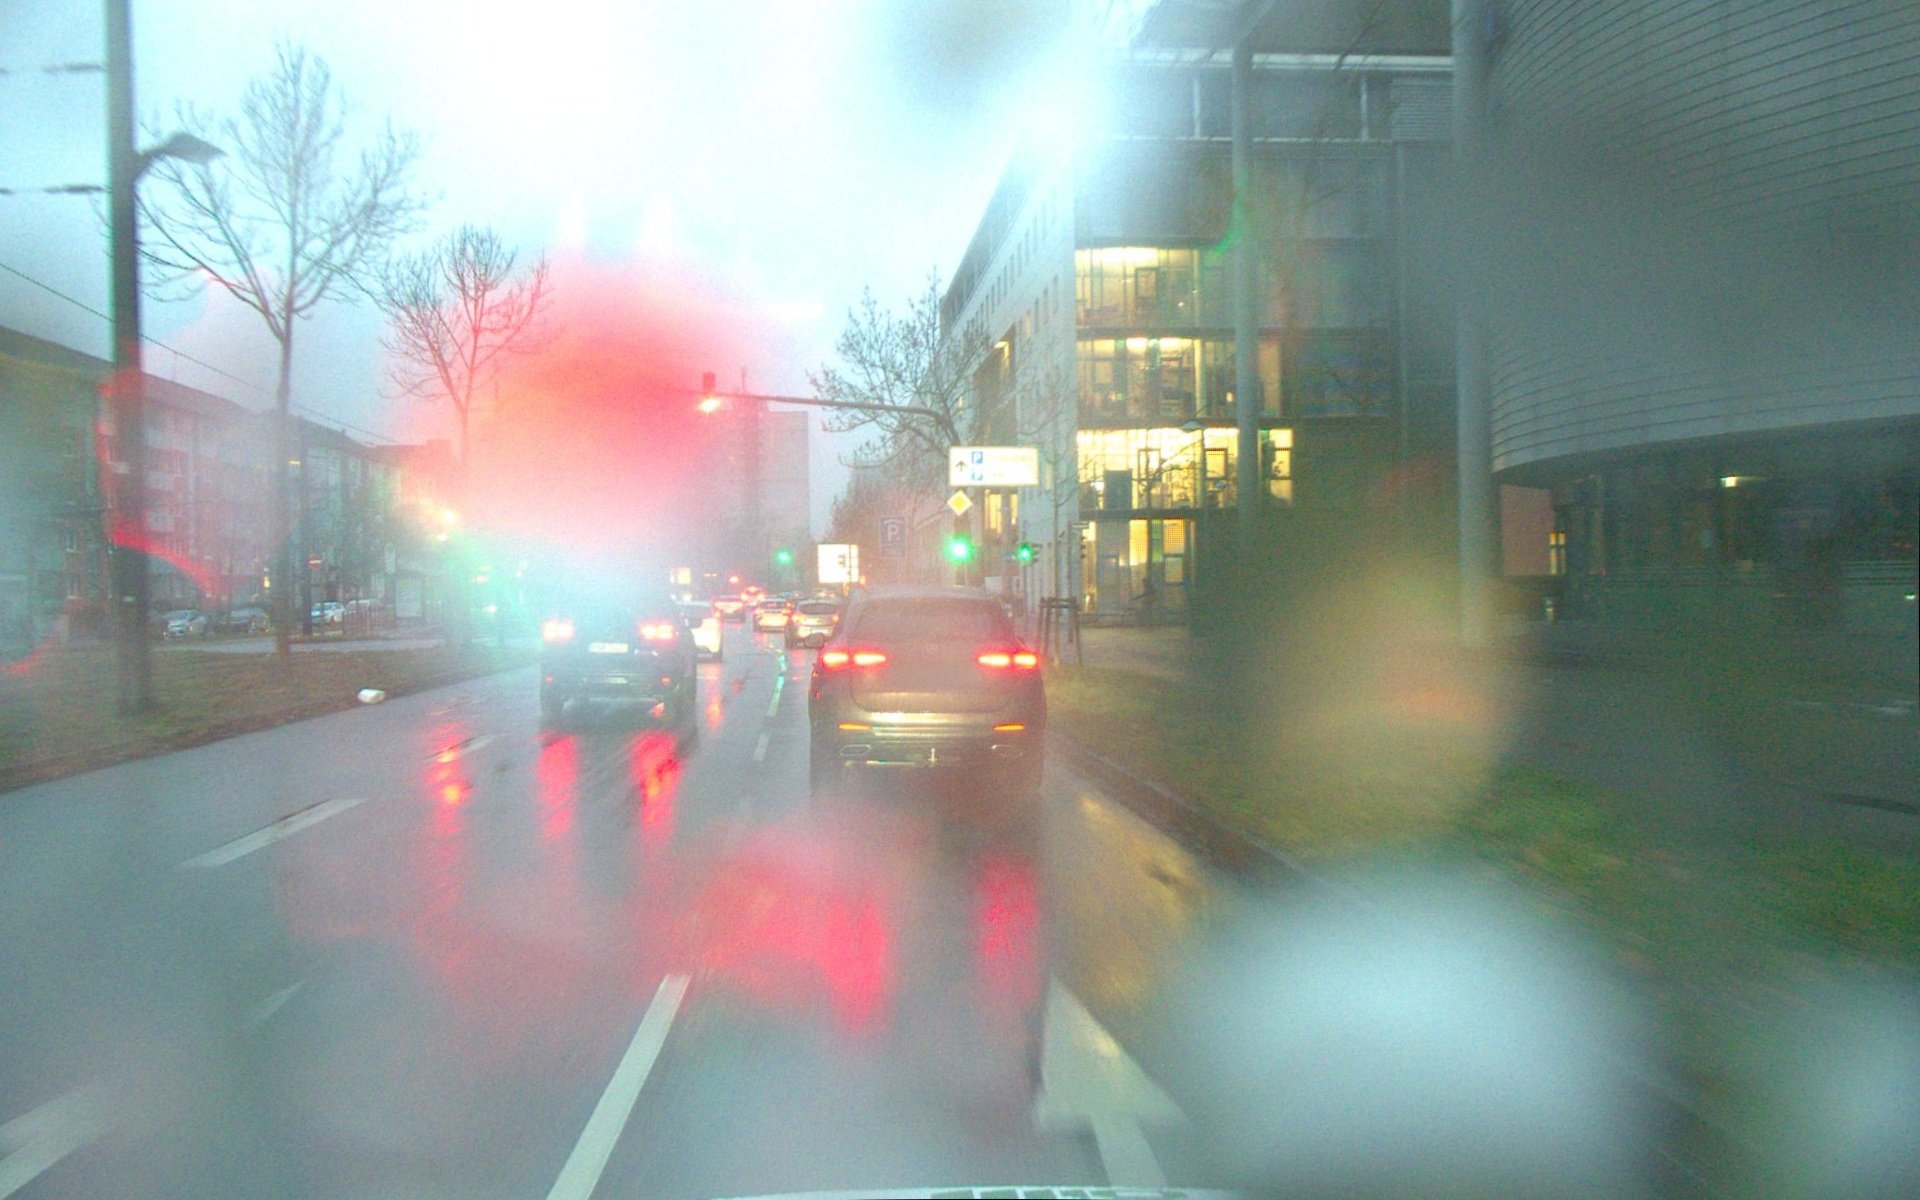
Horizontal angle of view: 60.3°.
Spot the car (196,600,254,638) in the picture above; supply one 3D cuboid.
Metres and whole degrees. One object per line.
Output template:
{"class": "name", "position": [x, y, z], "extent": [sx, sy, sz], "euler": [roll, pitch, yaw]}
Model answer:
{"class": "car", "position": [-40.957, 1.027, 92.220], "extent": [1.957, 2.049, 3.991], "euler": [1, 0, -9]}

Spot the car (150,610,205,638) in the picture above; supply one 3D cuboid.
{"class": "car", "position": [-39.099, 1.169, 82.723], "extent": [1.417, 1.309, 3.381], "euler": [1, 0, -6]}

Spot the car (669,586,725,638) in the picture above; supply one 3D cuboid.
{"class": "car", "position": [-9.303, 0.427, 58.729], "extent": [1.629, 1.790, 3.564], "euler": [1, 0, -4]}

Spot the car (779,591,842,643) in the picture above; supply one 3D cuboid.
{"class": "car", "position": [-4.747, 0.512, 52.842], "extent": [1.830, 1.570, 3.608], "euler": [1, 0, -3]}

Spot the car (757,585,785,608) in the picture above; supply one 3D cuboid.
{"class": "car", "position": [-14.568, -0.263, 127.348], "extent": [1.954, 1.745, 3.420], "euler": [1, 0, -4]}

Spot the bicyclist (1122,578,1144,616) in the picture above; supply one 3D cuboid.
{"class": "bicyclist", "position": [6.213, -0.099, 59.340], "extent": [0.609, 1.353, 0.565], "euler": [1, 0, 27]}

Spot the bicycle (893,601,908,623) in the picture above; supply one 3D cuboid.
{"class": "bicycle", "position": [-2.781, 0.552, 77.095], "extent": [0.534, 0.982, 1.343], "euler": [1, 0, -8]}

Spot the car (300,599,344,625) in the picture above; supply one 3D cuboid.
{"class": "car", "position": [-41.742, 0.772, 108.253], "extent": [1.896, 1.625, 3.719], "euler": [1, 0, -9]}

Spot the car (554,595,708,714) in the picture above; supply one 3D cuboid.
{"class": "car", "position": [-4.420, 0.681, 22.717], "extent": [1.783, 1.476, 3.993], "euler": [1, 0, -7]}

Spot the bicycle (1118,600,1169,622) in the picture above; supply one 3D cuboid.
{"class": "bicycle", "position": [6.556, 0.380, 59.124], "extent": [1.695, 0.758, 0.650], "euler": [1, 0, 28]}

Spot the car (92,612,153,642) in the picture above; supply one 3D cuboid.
{"class": "car", "position": [-38.968, 1.263, 76.982], "extent": [1.417, 1.309, 3.381], "euler": [1, 0, -6]}

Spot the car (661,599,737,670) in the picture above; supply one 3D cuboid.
{"class": "car", "position": [-6.472, 0.832, 41.281], "extent": [1.657, 1.664, 3.469], "euler": [1, 0, -6]}

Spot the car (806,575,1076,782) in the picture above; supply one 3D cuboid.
{"class": "car", "position": [-0.302, 0.591, 14.037], "extent": [1.955, 1.509, 3.695], "euler": [1, 0, -6]}

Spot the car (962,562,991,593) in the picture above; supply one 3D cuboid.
{"class": "car", "position": [0.976, -1.295, 96.974], "extent": [1.594, 1.790, 3.421], "euler": [1, 0, -1]}

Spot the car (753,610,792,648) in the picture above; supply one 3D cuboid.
{"class": "car", "position": [-8.128, 1.238, 71.863], "extent": [1.583, 1.548, 3.404], "euler": [1, 0, -5]}

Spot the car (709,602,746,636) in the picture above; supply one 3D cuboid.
{"class": "car", "position": [-14.282, 1.155, 101.665], "extent": [1.954, 2.049, 3.997], "euler": [1, 0, -4]}
